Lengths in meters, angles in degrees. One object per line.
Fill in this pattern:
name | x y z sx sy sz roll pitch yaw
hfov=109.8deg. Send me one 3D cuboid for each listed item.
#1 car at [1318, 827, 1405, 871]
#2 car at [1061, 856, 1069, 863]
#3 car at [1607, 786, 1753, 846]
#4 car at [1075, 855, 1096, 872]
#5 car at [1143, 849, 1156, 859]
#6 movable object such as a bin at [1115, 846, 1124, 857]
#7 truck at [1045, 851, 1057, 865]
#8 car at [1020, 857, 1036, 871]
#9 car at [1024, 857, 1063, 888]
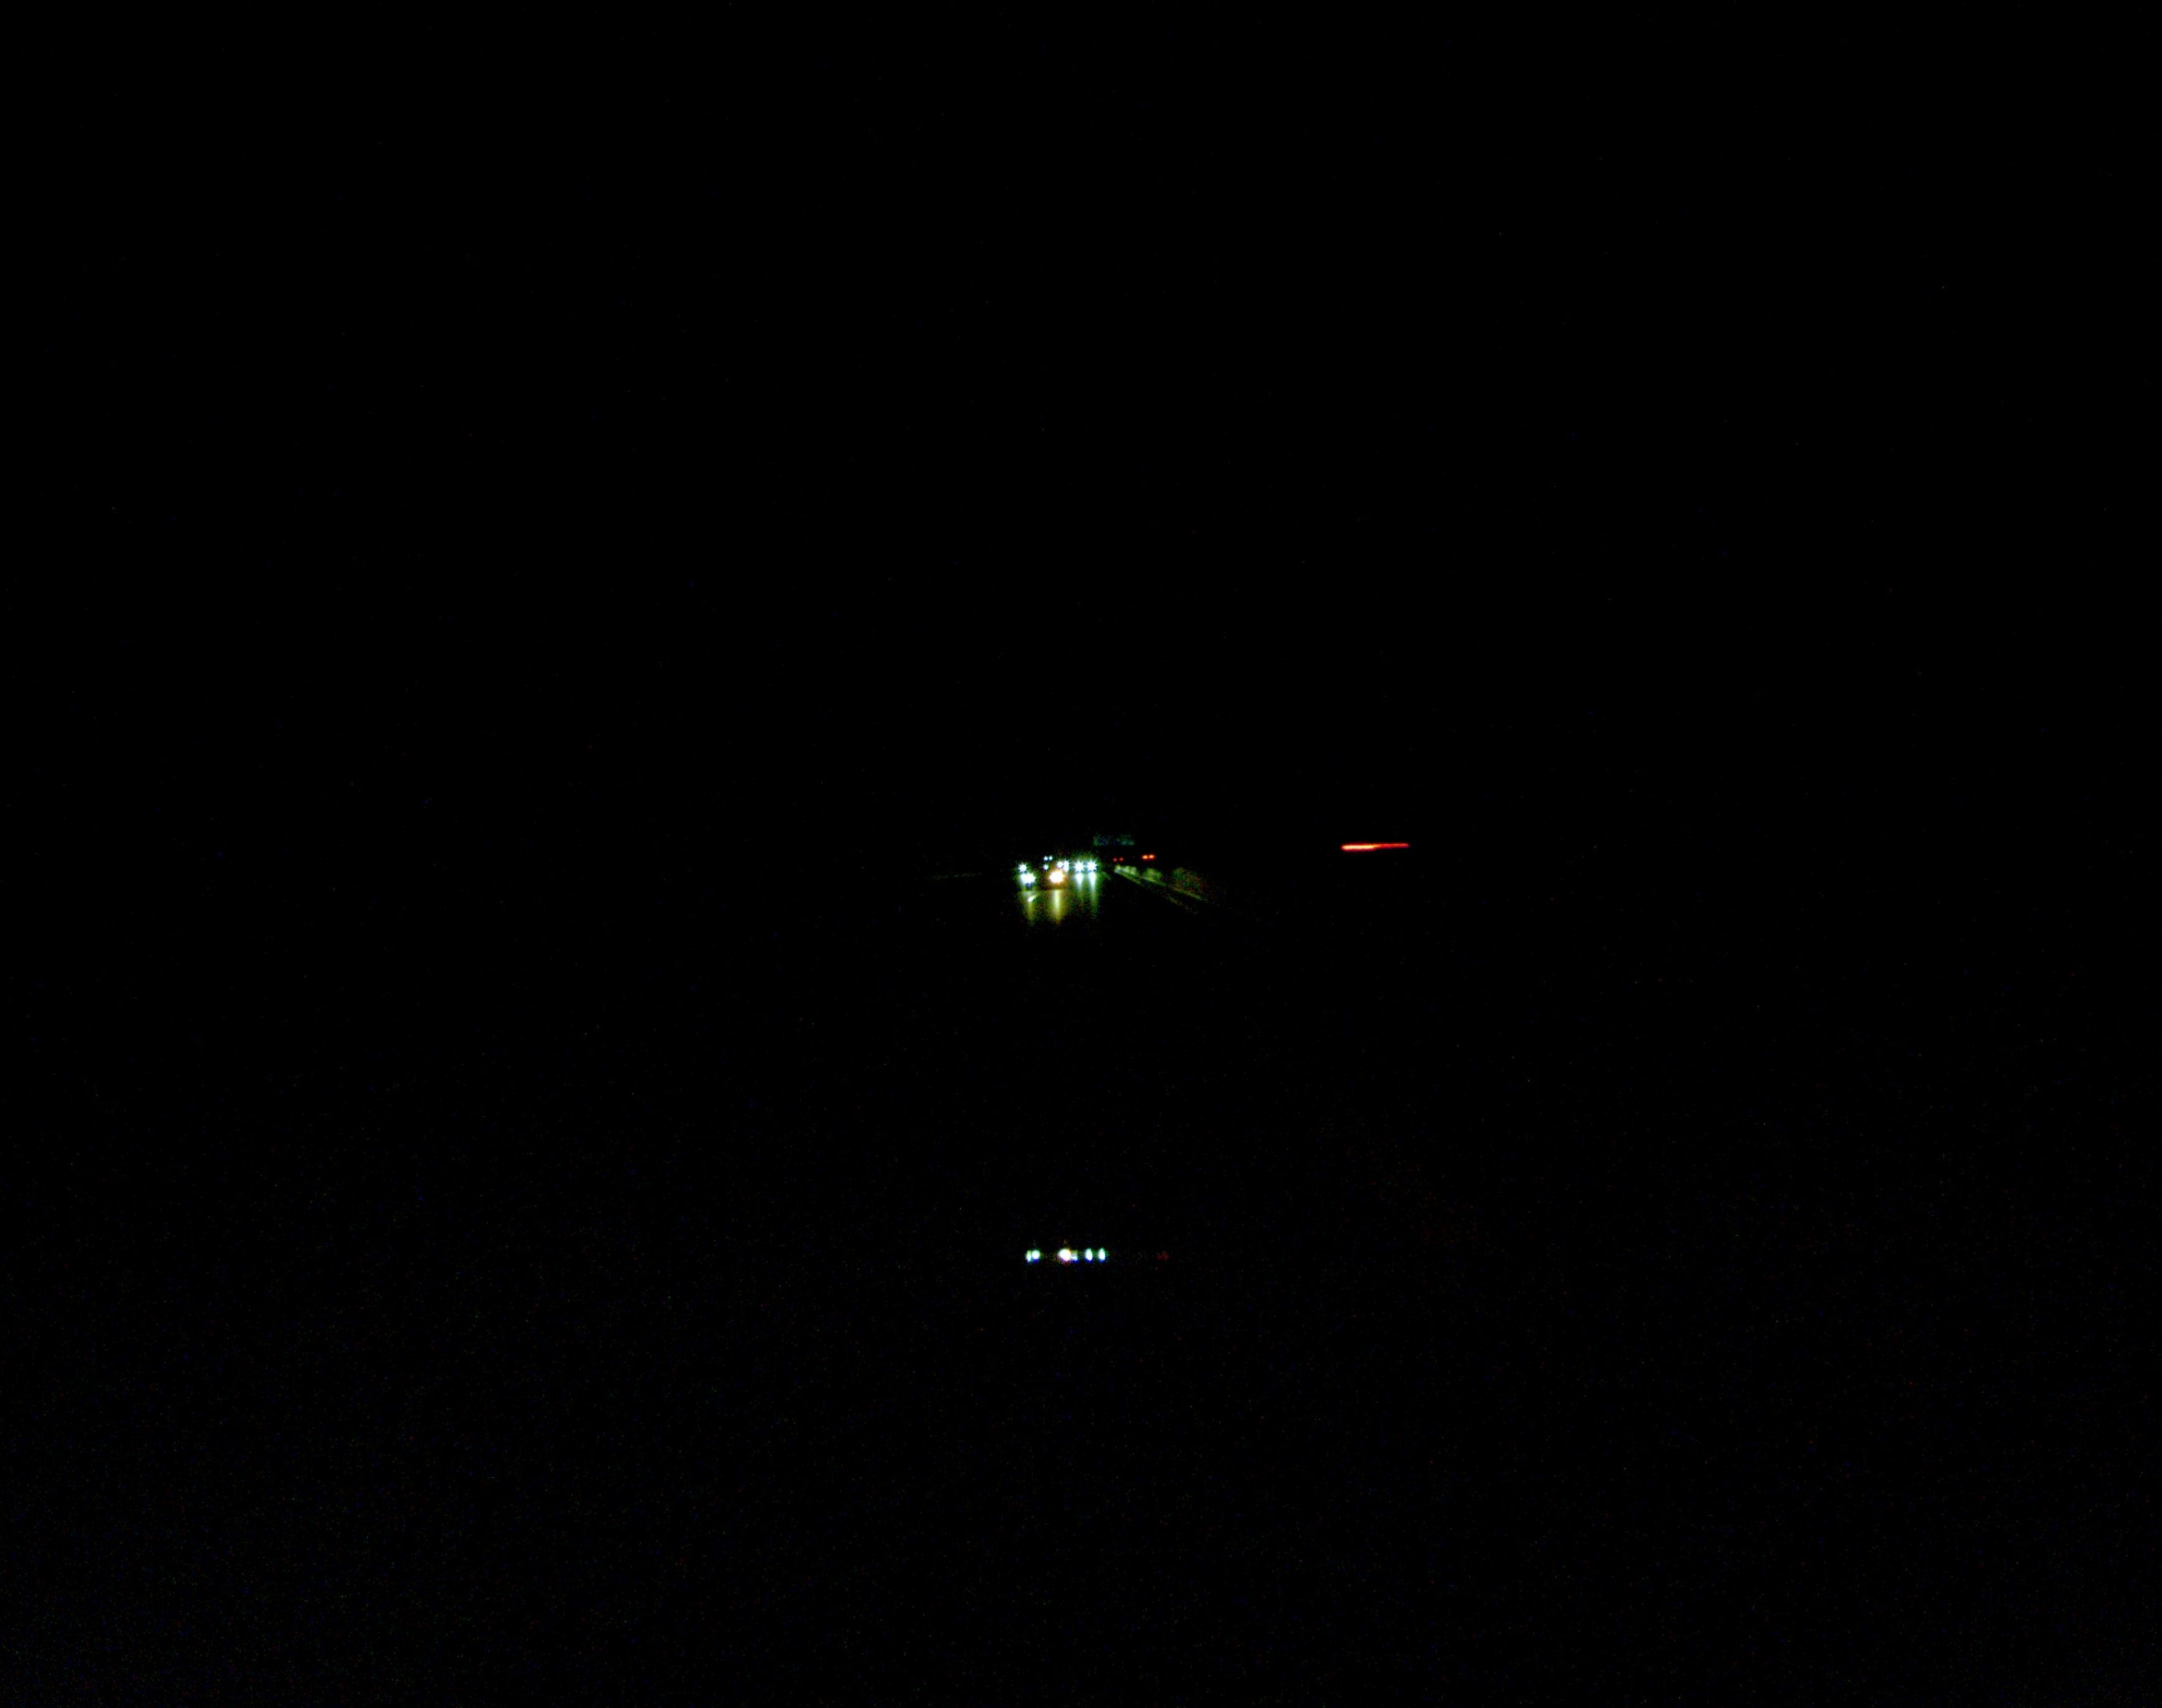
car | 13.053 -0.187 35.776 1.998 1.765 5.170 -5 0 -1
car | -3.846 1.300 183.801 1.940 1.608 4.000 -5 0 -2
car | 21.051 -1.273 26.930 1.999 1.914 3.999 -1 1 -1
car | 0.540 0.983 82.343 2.012 1.652 4.001 -5 0 2
car | 12.548 0.040 139.769 1.938 1.552 4.453 -5 0 0
movable object such as a bin | 12.904 -0.764 256.991 2.299 3.747 7.685 -2 0 -1
truck | -10.431 1.324 263.365 3.347 4.407 6.991 -5 0 -5
car | -7.379 1.389 106.403 1.999 1.707 5.167 -5 -1 -2
car | -1.930 0.982 40.566 1.840 1.392 5.069 -5 -1 -1
